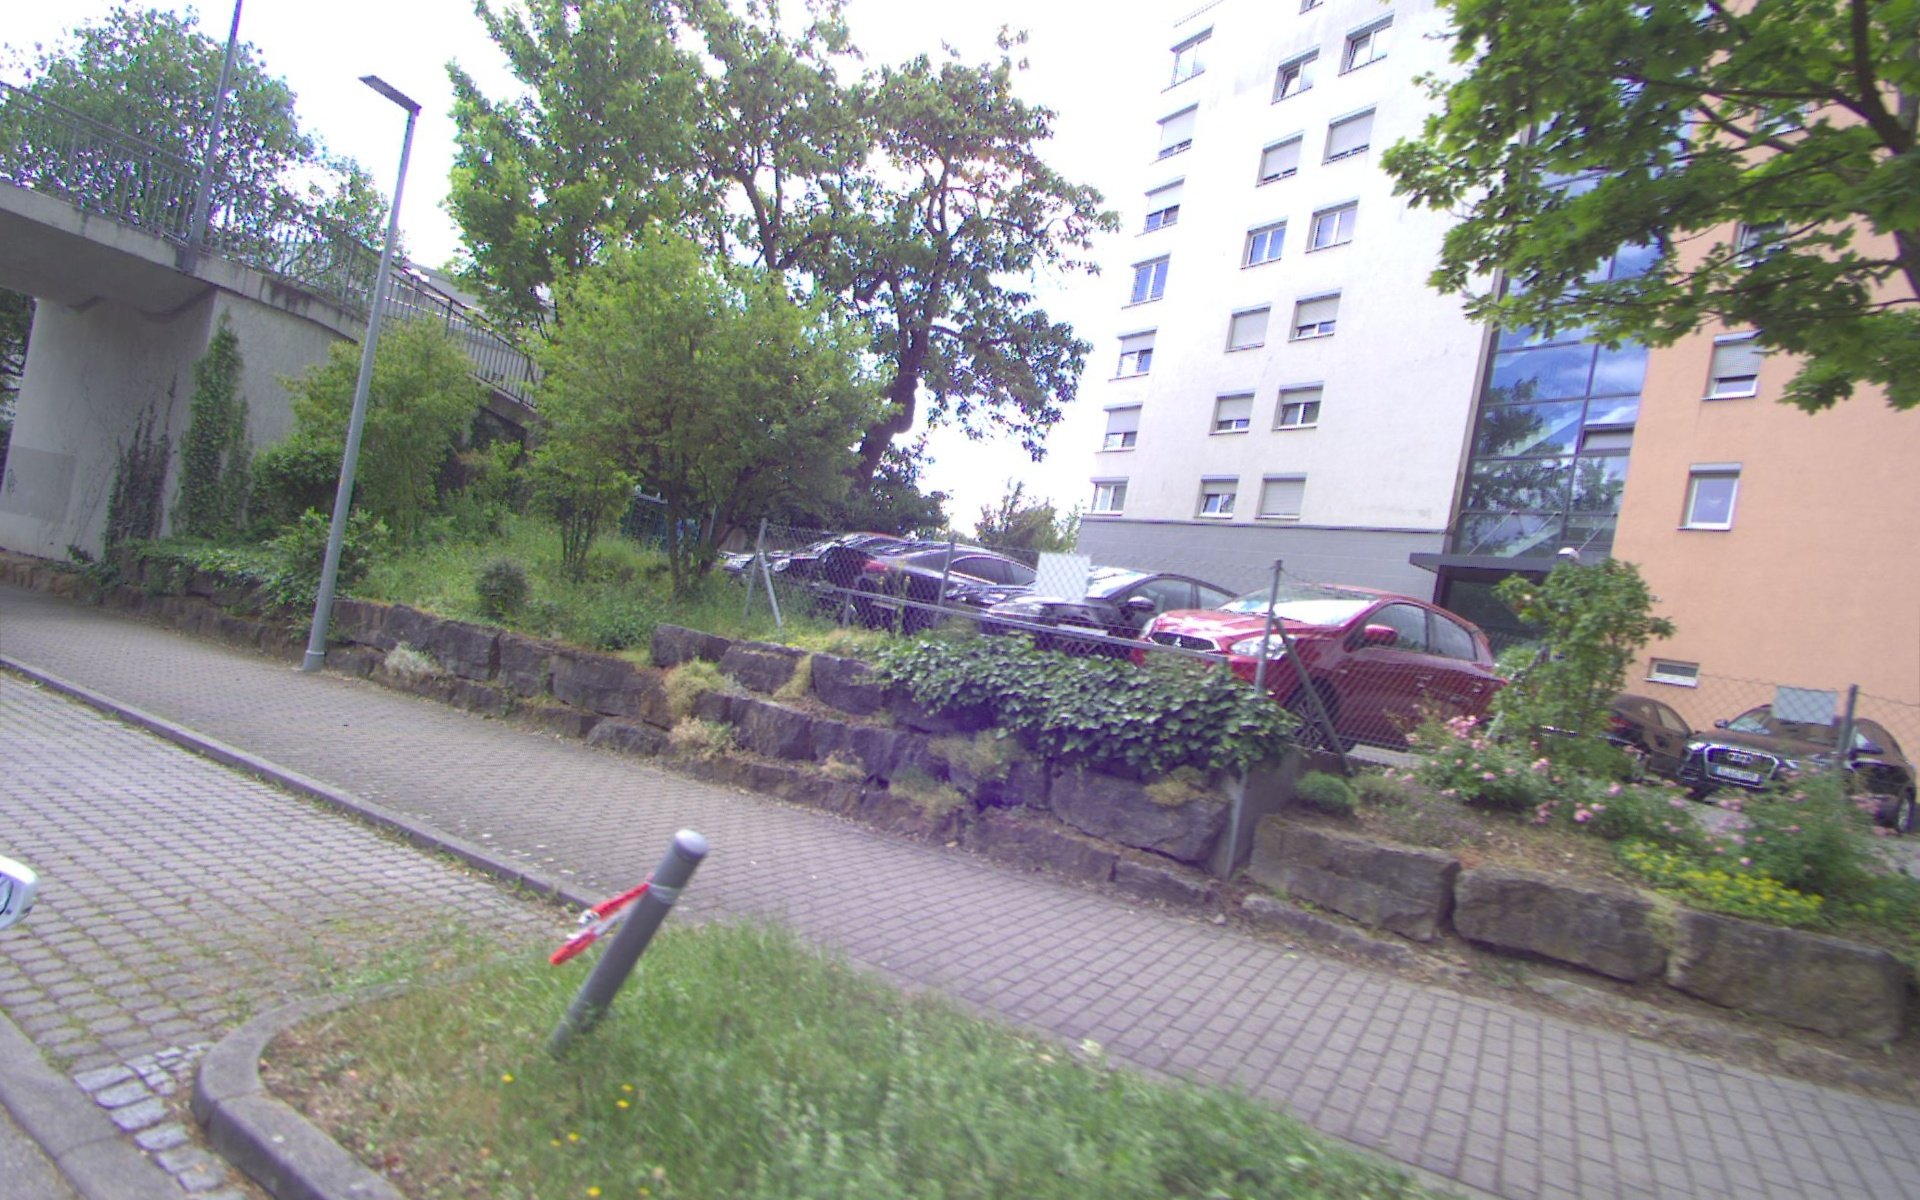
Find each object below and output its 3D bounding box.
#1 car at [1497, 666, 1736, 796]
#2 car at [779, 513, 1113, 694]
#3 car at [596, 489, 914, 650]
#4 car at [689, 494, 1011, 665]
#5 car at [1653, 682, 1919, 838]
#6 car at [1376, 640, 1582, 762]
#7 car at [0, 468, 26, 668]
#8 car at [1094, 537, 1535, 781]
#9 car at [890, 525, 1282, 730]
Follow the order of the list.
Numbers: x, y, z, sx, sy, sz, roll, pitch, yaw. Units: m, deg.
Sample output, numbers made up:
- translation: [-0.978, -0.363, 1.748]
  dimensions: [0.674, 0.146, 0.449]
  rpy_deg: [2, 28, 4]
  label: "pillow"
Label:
- translation: [10.880, 2.178, 16.627]
  dimensions: [3.804, 1.475, 1.679]
  rpy_deg: [11, -2, -31]
  label: "car"
- translation: [-0.105, 0.077, 12.320]
  dimensions: [3.634, 1.514, 1.668]
  rpy_deg: [12, -2, -36]
  label: "car"
- translation: [-3.232, -0.429, 16.357]
  dimensions: [4.528, 1.686, 1.924]
  rpy_deg: [12, -3, -38]
  label: "car"
- translation: [-1.493, -0.246, 14.315]
  dimensions: [3.973, 1.631, 1.924]
  rpy_deg: [12, -3, -38]
  label: "car"
- translation: [12.079, 2.338, 14.523]
  dimensions: [4.016, 1.535, 1.741]
  rpy_deg: [11, 0, -31]
  label: "car"
- translation: [9.683, 1.908, 18.641]
  dimensions: [4.104, 1.611, 1.675]
  rpy_deg: [12, -2, -38]
  label: "car"
- translation: [-10.389, -0.562, 8.949]
  dimensions: [4.297, 1.698, 1.817]
  rpy_deg: [7, -1, 31]
  label: "car"
- translation: [3.131, 0.553, 8.653]
  dimensions: [3.634, 1.455, 1.668]
  rpy_deg: [12, -3, -36]
  label: "car"
- translation: [1.394, 0.325, 10.436]
  dimensions: [3.771, 1.437, 1.668]
  rpy_deg: [12, -3, -36]
  label: "car"
